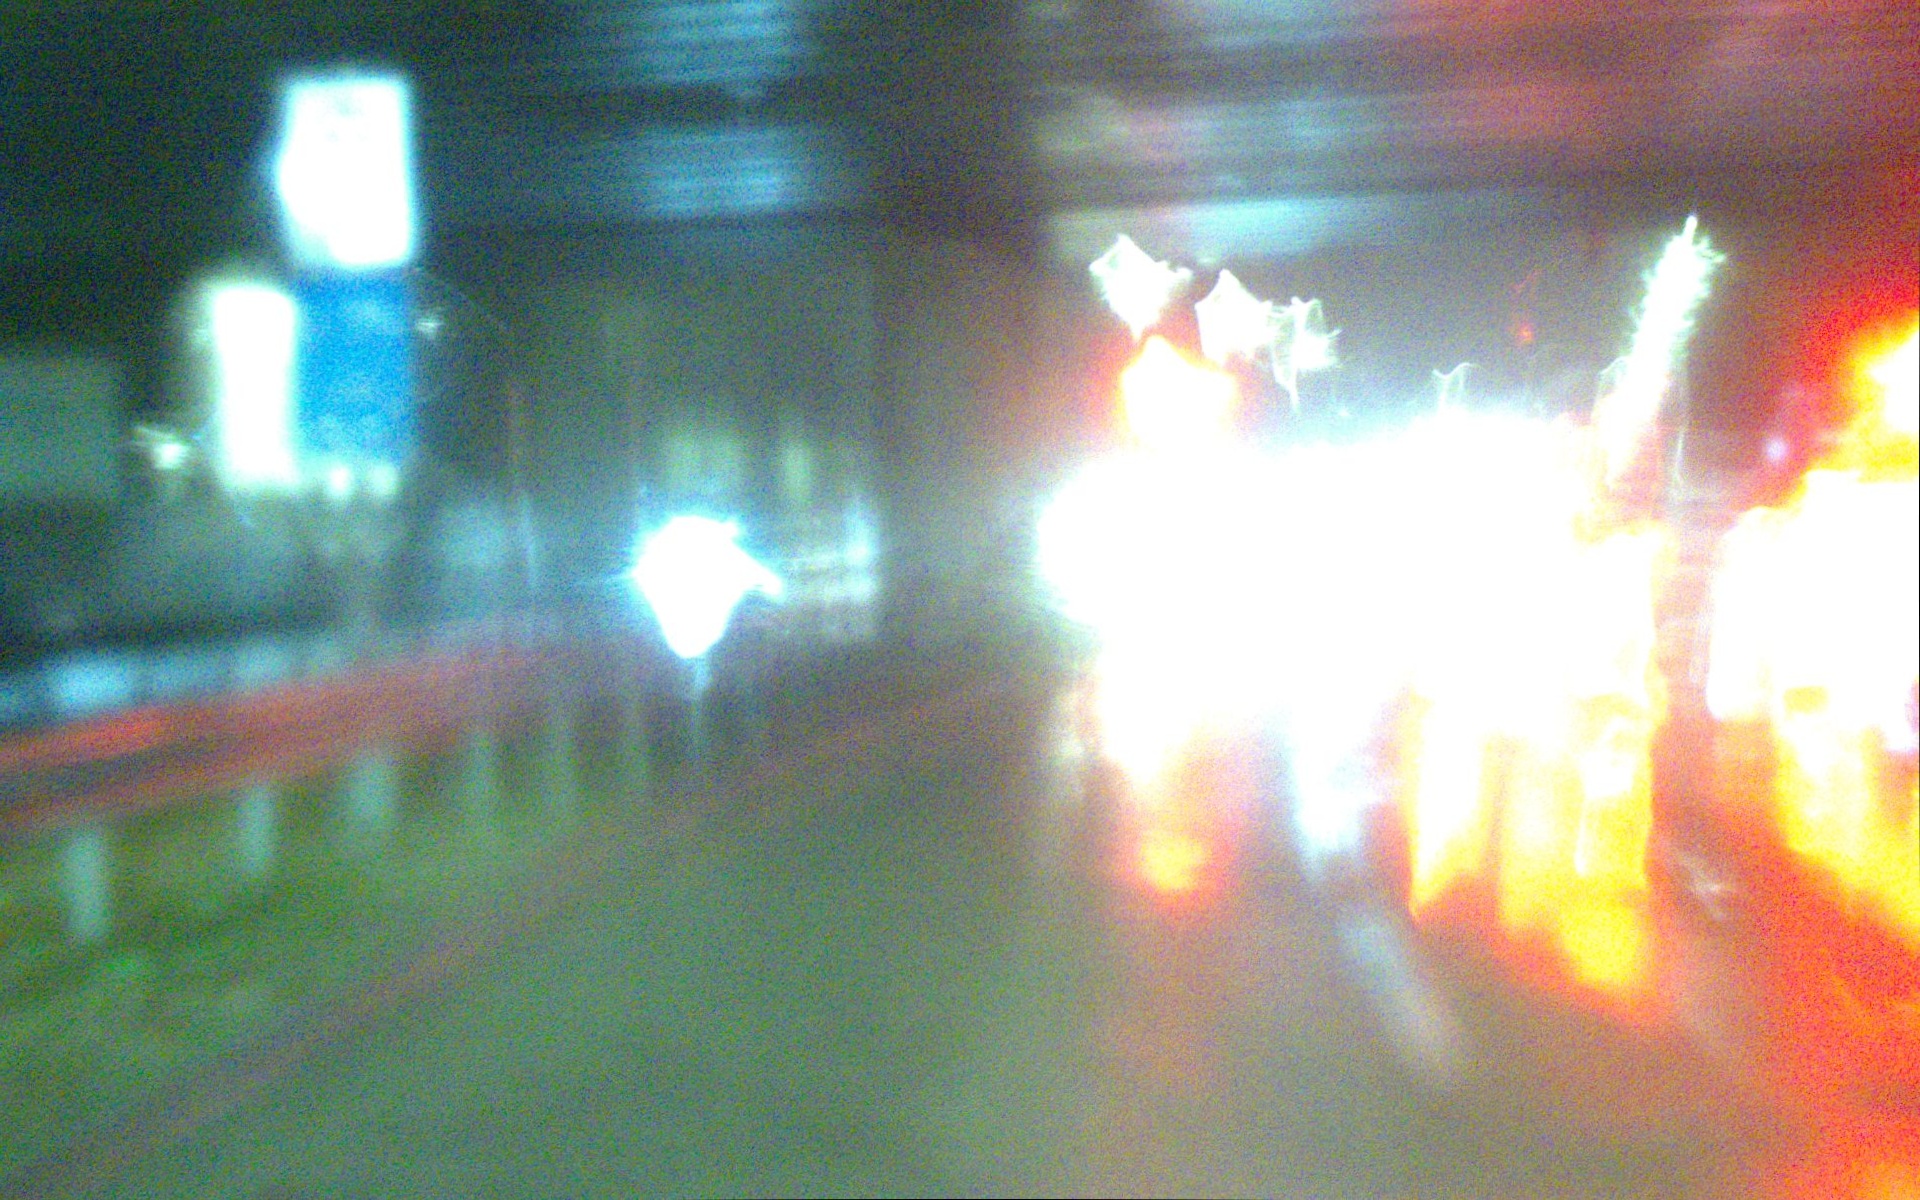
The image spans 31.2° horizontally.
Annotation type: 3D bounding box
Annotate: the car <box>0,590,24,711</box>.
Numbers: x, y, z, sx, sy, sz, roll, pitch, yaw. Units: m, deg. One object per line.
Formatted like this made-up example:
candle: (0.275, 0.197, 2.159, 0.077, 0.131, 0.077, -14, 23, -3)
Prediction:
car: (-11.293, 0.576, 35.519, 1.855, 1.284, 4.131, -1, 1, 4)

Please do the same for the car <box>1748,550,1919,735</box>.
car: (8.664, 0.367, 33.547, 1.789, 1.678, 3.997, -1, 1, 14)

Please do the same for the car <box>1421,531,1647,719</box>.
car: (5.536, 0.200, 32.820, 1.789, 1.678, 3.997, -1, 1, 14)

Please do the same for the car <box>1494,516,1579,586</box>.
car: (14.544, -1.237, 86.621, 1.789, 1.678, 3.997, -1, 1, 14)

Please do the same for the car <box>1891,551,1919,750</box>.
car: (8.440, 0.343, 27.602, 1.777, 1.496, 3.997, -1, 1, 14)

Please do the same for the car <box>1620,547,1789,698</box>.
car: (8.805, 0.230, 40.483, 1.789, 1.678, 3.997, -1, 1, 14)
